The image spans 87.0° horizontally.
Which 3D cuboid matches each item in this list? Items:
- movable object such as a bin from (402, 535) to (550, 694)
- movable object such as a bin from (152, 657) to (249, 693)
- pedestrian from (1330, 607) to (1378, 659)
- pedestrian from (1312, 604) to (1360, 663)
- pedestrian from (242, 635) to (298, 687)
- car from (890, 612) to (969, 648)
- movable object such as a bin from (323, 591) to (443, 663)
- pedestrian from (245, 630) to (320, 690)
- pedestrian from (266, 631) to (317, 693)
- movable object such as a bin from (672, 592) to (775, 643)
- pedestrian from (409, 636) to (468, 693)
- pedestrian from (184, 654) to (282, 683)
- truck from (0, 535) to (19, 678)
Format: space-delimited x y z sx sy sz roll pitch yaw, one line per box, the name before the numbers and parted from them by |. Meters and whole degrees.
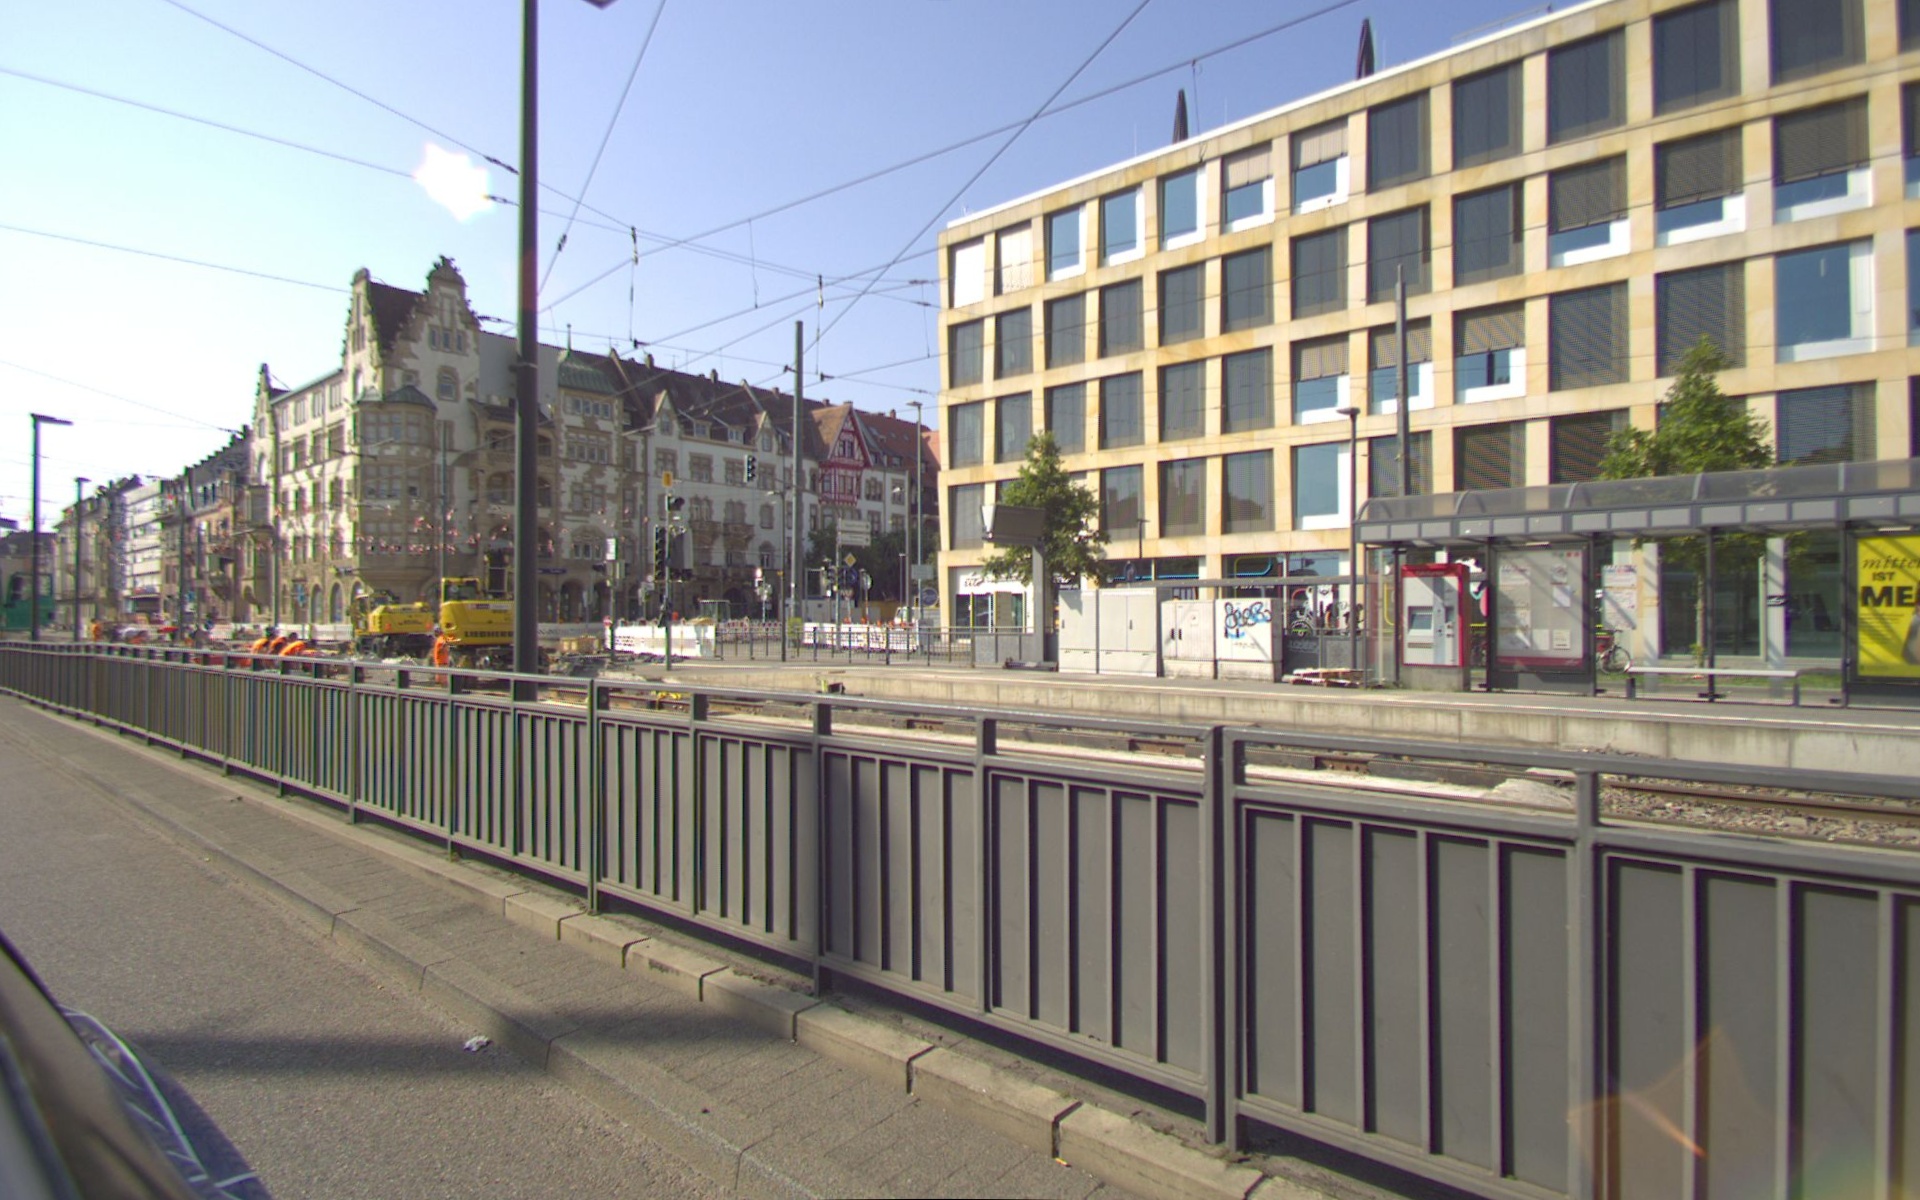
movable object such as a bin | -14.512 0.509 30.572 3.454 4.044 9.070 1 -2 -25
movable object such as a bin | -15.525 1.526 20.725 1.484 0.657 0.703 0 -2 -28
pedestrian | 12.426 1.042 31.930 1.123 1.609 0.966 -2 -2 41
pedestrian | 11.596 1.018 31.224 1.123 1.765 0.966 -2 -2 41
pedestrian | -16.421 1.446 24.109 0.968 1.199 0.801 0 -2 -25
car | -1.758 1.776 60.324 1.815 2.046 5.051 -2 -2 40
movable object such as a bin | -28.934 1.342 50.534 8.346 3.355 2.815 -1 -2 43
pedestrian | -15.444 1.359 23.116 1.293 1.316 0.801 0 -2 -25
pedestrian | -14.718 1.347 22.305 0.825 1.316 0.801 0 -2 -25
movable object such as a bin | -13.408 1.019 57.747 2.134 2.760 5.555 -1 -2 40
pedestrian | -12.492 1.526 24.233 0.983 1.316 1.003 -2 -3 45
pedestrian | -18.175 1.701 25.323 0.913 0.641 1.880 -2 -2 44
truck | -28.767 0.227 27.433 8.185 3.706 2.654 -1 -2 32
